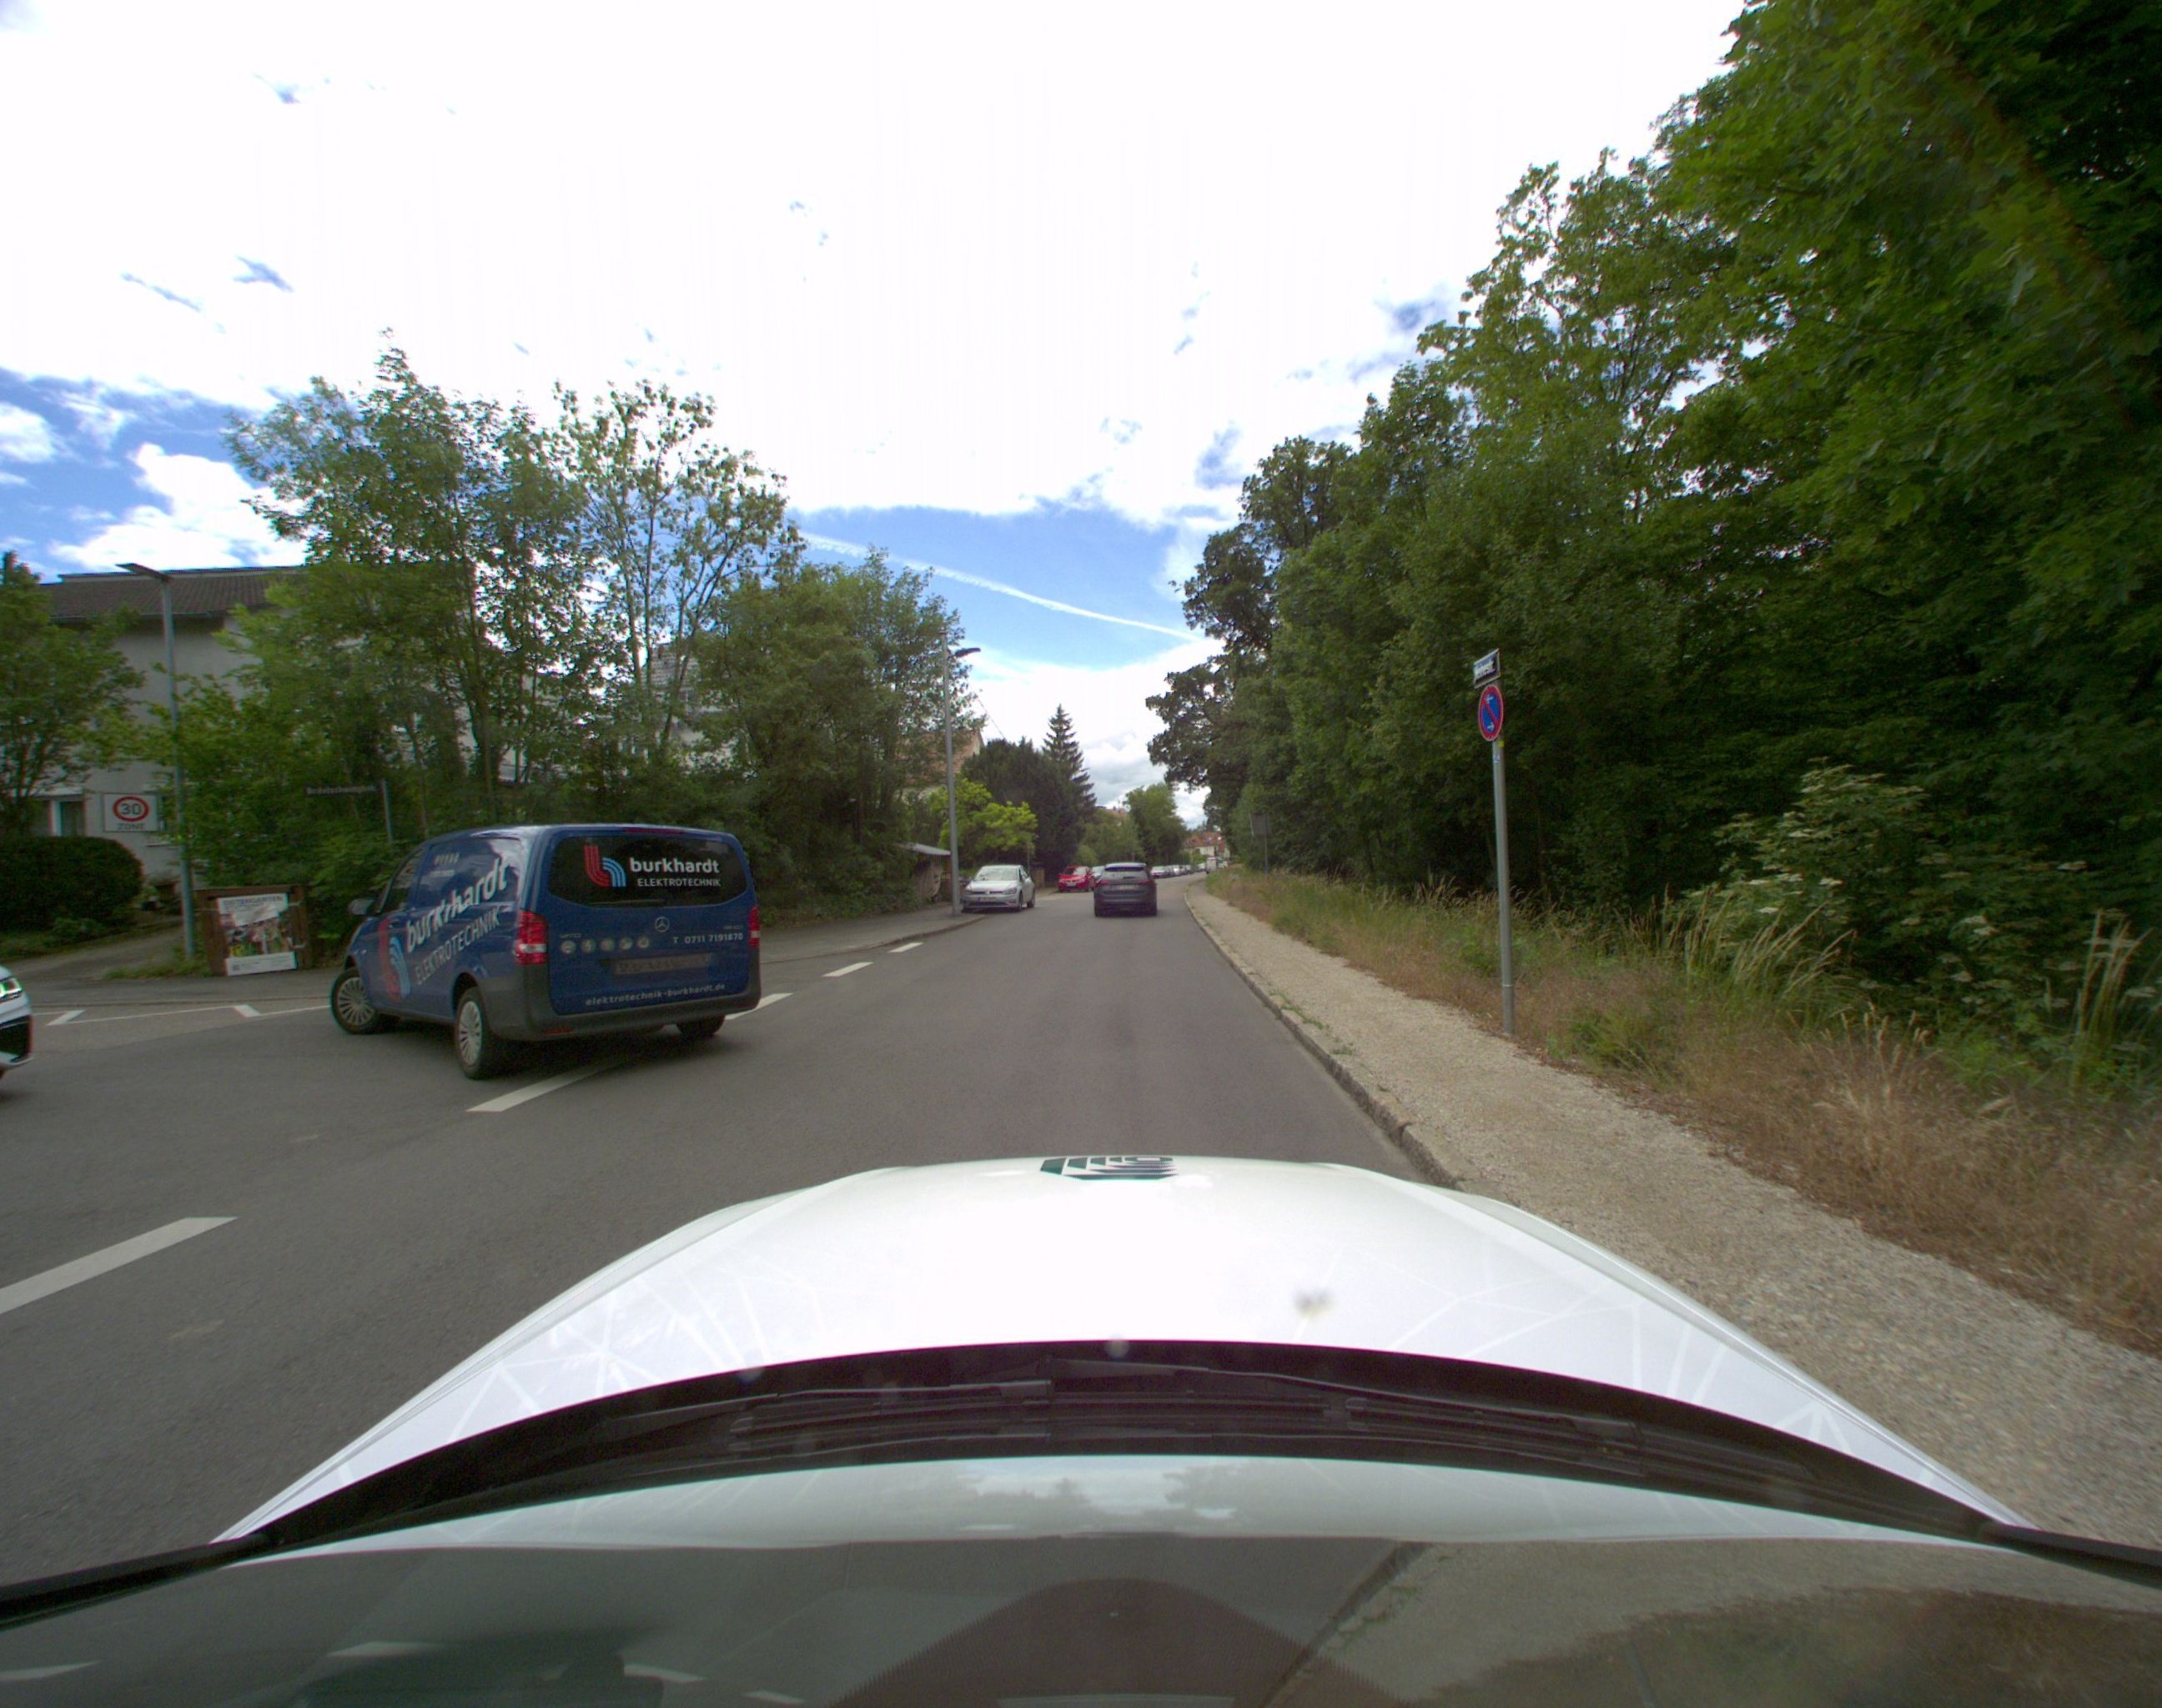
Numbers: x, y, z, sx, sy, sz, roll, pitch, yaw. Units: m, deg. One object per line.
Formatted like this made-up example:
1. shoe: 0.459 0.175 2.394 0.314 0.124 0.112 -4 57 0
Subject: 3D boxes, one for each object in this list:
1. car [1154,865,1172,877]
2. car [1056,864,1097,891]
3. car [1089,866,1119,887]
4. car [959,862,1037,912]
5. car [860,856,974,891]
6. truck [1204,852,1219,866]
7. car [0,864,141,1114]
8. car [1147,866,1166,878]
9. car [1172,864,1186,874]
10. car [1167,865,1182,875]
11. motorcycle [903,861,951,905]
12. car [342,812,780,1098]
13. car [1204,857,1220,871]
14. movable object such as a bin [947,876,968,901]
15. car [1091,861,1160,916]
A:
1. car: 10.036 2.115 99.750 1.738 1.405 4.012 -1 -1 11
2. car: -0.205 1.279 45.515 1.625 1.405 4.010 -1 -1 9
3. car: 1.595 1.509 55.737 1.740 1.405 4.007 -1 -1 6
4. car: -2.568 1.008 26.110 1.697 1.468 4.081 -1 -1 5
5. car: -7.127 0.845 35.595 4.456 1.441 1.883 -1 -1 8
6. truck: 27.563 1.119 171.762 2.745 2.794 9.296 -2 0 11
7. car: -9.738 0.956 5.497 4.908 1.670 2.042 -1 -1 7
8. car: 8.738 2.057 93.497 1.738 1.405 4.012 -1 -1 11
9. car: 14.749 2.197 122.392 1.738 1.405 4.012 -1 -1 11
10. car: 12.956 2.218 112.438 1.738 1.405 4.012 -1 -1 11
11. motorcycle: -5.361 0.983 28.567 0.805 1.485 2.901 -1 -1 7
12. car: -4.933 0.688 7.485 4.472 1.880 1.955 -1 0 37
13. car: 20.485 1.576 127.349 2.192 2.064 6.152 -2 0 10
14. movable object such as a bin: -4.638 1.279 30.608 0.587 0.909 0.703 -1 -1 11
15. car: 1.372 0.934 23.513 1.726 1.447 4.187 -1 -1 6
